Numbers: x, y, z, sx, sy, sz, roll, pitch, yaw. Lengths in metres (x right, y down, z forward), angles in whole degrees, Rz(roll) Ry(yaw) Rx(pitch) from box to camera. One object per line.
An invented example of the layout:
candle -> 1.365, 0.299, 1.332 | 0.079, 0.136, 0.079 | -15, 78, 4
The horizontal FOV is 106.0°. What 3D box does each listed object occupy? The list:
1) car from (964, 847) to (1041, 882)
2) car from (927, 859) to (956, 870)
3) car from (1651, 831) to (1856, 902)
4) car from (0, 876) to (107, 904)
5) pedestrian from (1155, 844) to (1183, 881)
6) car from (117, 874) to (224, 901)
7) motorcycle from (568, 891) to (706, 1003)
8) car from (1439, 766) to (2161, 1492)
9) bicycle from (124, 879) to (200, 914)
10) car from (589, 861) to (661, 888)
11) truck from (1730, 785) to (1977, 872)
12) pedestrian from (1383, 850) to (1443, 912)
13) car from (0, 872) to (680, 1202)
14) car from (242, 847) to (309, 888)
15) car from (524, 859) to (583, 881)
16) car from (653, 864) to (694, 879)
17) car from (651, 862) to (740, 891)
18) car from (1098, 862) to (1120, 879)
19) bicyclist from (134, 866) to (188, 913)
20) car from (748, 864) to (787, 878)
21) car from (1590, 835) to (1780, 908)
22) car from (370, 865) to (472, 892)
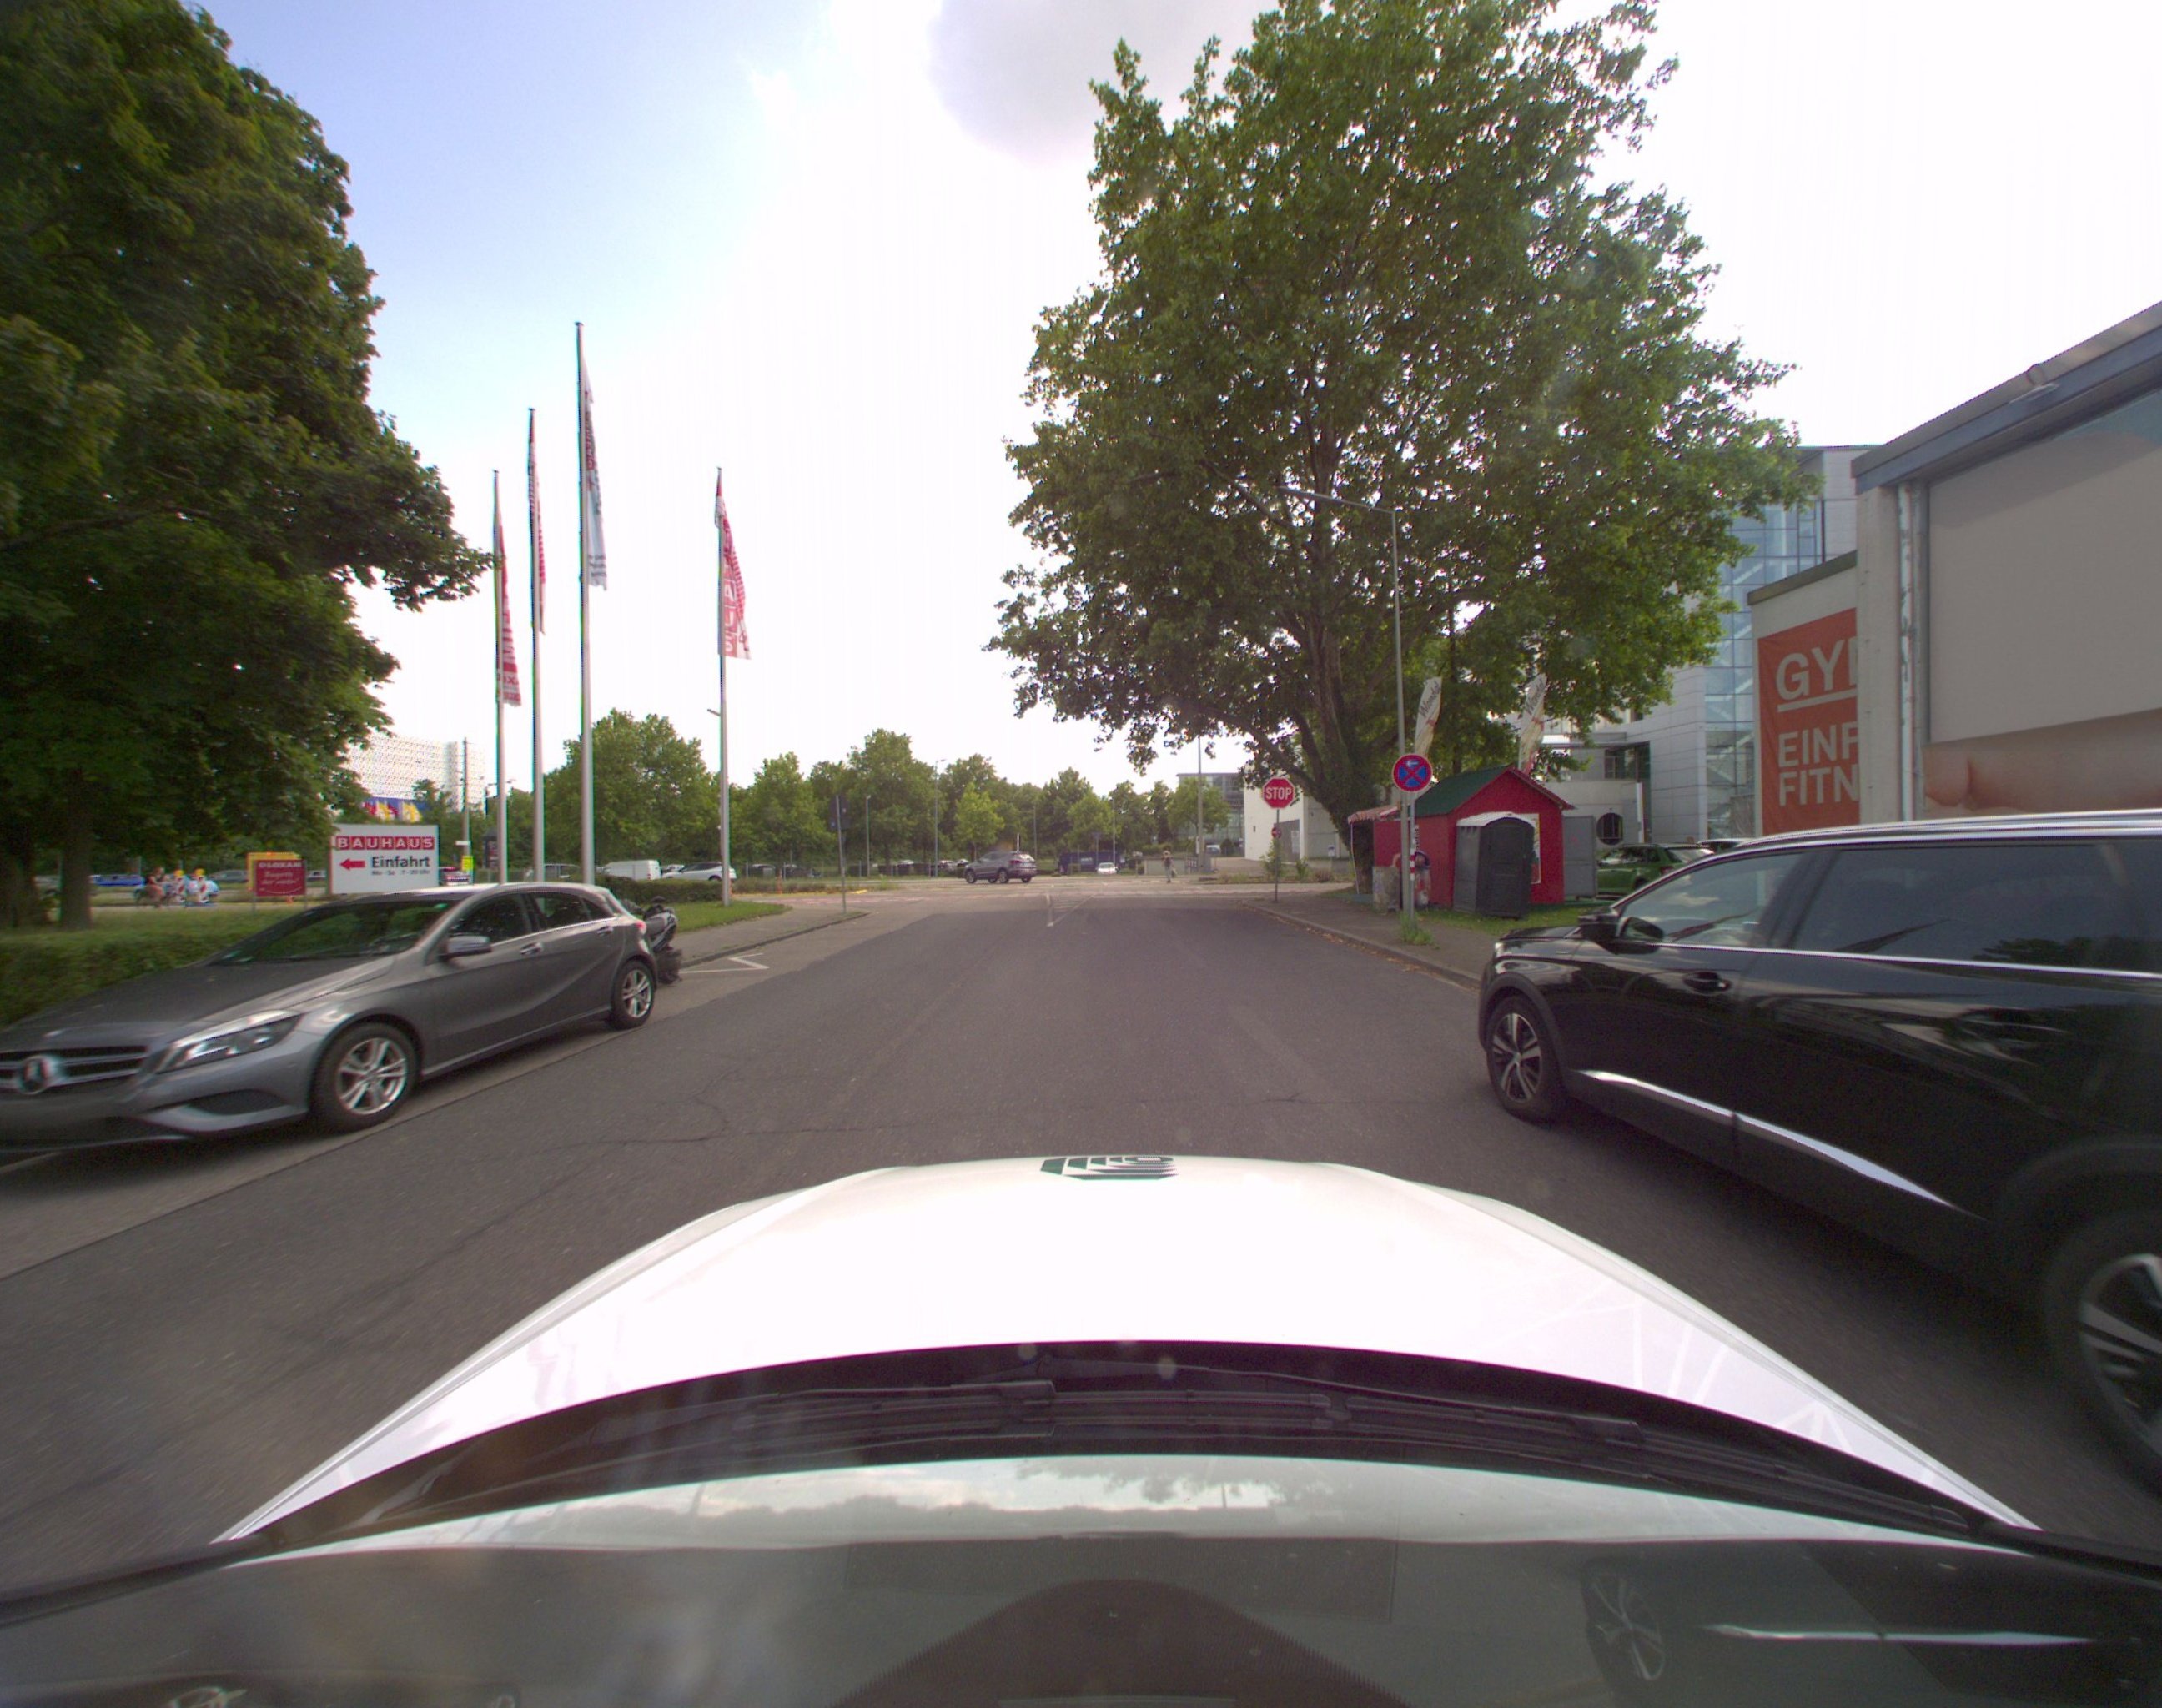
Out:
car -> -4.352, 0.576, 44.554 | 1.980, 1.815, 4.223 | -1, 0, -44
car -> -21.946, 1.656, 128.265 | 1.895, 1.721, 4.327 | -1, 0, 33
car -> 16.513, 0.276, 20.288 | 1.735, 1.568, 3.997 | -1, 0, -2
car -> -58.470, 2.019, 46.255 | 4.006, 1.406, 1.797 | -1, 0, -2
pedestrian -> 4.464, 0.430, 41.337 | 1.003, 1.849, 1.222 | -1, 0, -17
car -> -52.280, 1.934, 46.821 | 4.006, 1.406, 1.797 | -1, 0, -2
motorcycle -> -5.447, 1.093, 10.131 | 0.619, 1.138, 1.803 | -4, 0, 1
car -> 3.389, 0.644, 3.294 | 1.802, 1.665, 4.639 | 2, 0, 0
bicycle -> -33.640, 1.542, 29.826 | 1.806, 1.166, 0.729 | -2, 1, -4
car -> -40.184, 1.801, 71.883 | 5.273, 2.211, 1.796 | -1, -1, -3
truck -> 37.308, -1.208, 39.525 | 9.488, 3.896, 2.798 | -1, -1, -2
pedestrian -> 7.260, 0.575, 17.870 | 1.008, 1.314, 0.967 | -1, 0, 9
car -> -5.035, 0.953, 6.085 | 1.703, 1.420, 4.333 | -4, 0, 2
car -> -54.692, 0.928, 55.430 | 2.215, 2.578, 6.335 | -1, -1, -35
car -> -52.873, 1.612, 81.728 | 1.837, 2.135, 4.598 | -1, 0, 32
car -> -49.700, 2.146, 99.395 | 1.895, 1.662, 4.025 | -1, 0, 33
car -> -22.419, 1.304, 47.489 | 4.208, 1.579, 1.923 | -1, 0, -2
car -> 2.525, 1.491, 74.459 | 1.923, 1.403, 4.082 | -1, 0, 2
bicyclist -> -33.666, 1.297, 29.814 | 1.005, 1.647, 0.733 | -2, 1, -5
car -> -39.957, 2.189, 103.750 | 1.895, 1.721, 4.327 | -1, 0, 33
car -> 13.956, 0.369, 19.148 | 1.731, 1.512, 4.005 | -1, 0, 4
car -> -37.967, 1.373, 46.925 | 4.208, 1.406, 1.923 | -1, 0, -2
